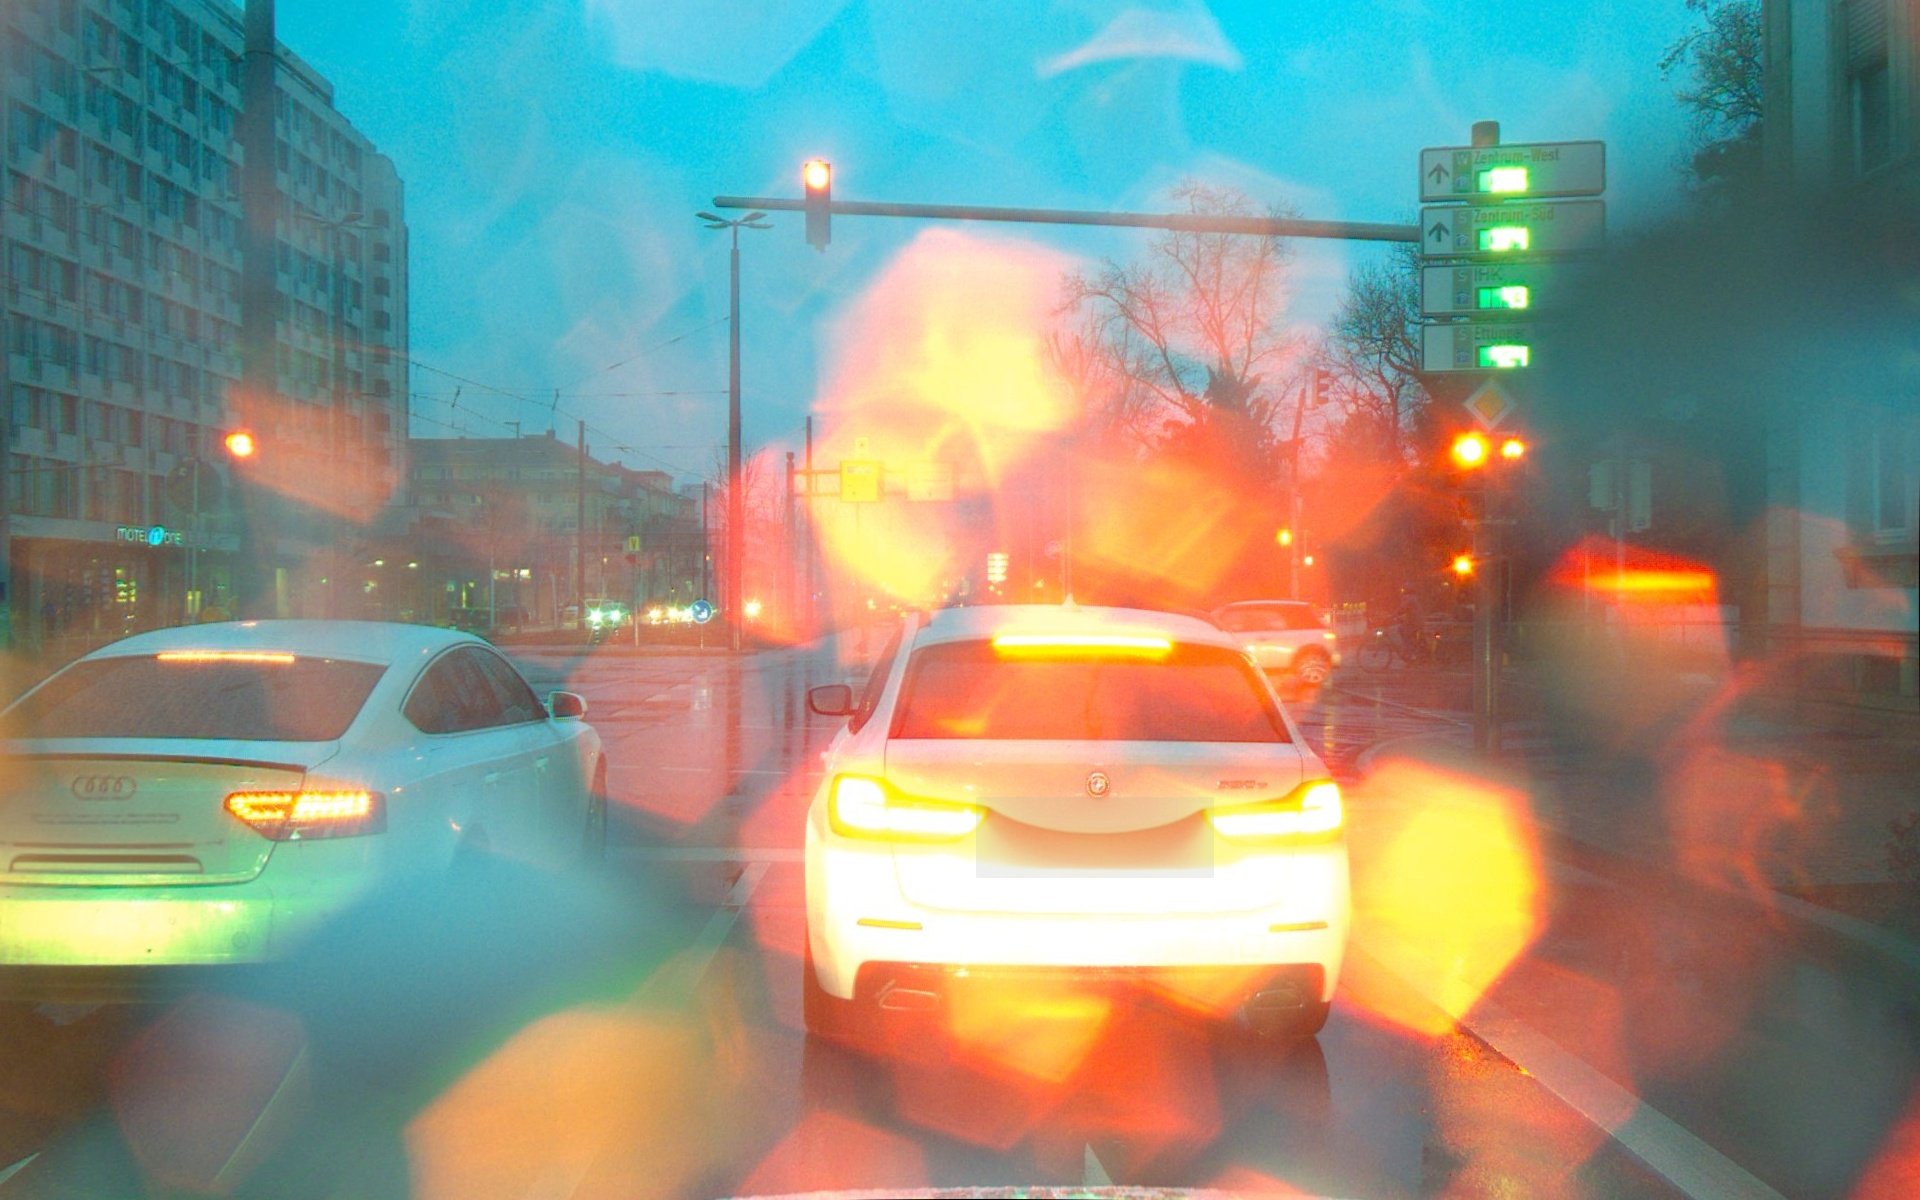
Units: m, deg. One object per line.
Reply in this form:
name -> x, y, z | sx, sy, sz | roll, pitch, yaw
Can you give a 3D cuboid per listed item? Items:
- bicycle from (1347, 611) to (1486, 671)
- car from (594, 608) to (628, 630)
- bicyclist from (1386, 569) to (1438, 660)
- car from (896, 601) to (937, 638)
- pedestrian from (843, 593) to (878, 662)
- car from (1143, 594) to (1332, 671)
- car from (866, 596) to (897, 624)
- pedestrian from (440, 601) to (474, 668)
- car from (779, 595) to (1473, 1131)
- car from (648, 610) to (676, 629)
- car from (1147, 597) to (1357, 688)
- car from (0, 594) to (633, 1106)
bicycle -> 9.107, 0.818, 33.081 | 2.610, 1.108, 0.815 | 1, -1, 12
car -> -24.464, 1.334, 115.907 | 1.641, 1.534, 3.695 | 1, -1, -1
bicyclist -> 9.043, 0.290, 33.113 | 0.951, 1.789, 0.814 | 1, -1, 13
car -> -1.999, 0.891, 76.190 | 1.806, 1.637, 3.943 | 1, -1, -2
pedestrian -> -2.808, 0.774, 46.751 | 0.886, 1.888, 0.811 | 2, -1, -8
car -> 6.203, 0.714, 36.922 | 3.873, 1.581, 1.749 | 1, -1, 20
car -> -4.849, 0.641, 102.552 | 1.806, 1.637, 3.943 | 1, -1, -1
pedestrian -> -13.421, 0.913, 44.141 | 0.777, 1.741, 0.809 | 2, -1, -16
car -> 0.379, 0.730, 6.826 | 1.954, 1.481, 4.366 | 0, 0, -3
car -> -24.510, 1.620, 136.189 | 1.641, 1.534, 3.695 | 1, -1, -1
car -> 5.261, 0.758, 29.882 | 3.609, 1.504, 1.630 | 1, -1, 11
car -> -2.703, 0.722, 6.997 | 1.954, 1.481, 4.366 | 0, 0, -3
